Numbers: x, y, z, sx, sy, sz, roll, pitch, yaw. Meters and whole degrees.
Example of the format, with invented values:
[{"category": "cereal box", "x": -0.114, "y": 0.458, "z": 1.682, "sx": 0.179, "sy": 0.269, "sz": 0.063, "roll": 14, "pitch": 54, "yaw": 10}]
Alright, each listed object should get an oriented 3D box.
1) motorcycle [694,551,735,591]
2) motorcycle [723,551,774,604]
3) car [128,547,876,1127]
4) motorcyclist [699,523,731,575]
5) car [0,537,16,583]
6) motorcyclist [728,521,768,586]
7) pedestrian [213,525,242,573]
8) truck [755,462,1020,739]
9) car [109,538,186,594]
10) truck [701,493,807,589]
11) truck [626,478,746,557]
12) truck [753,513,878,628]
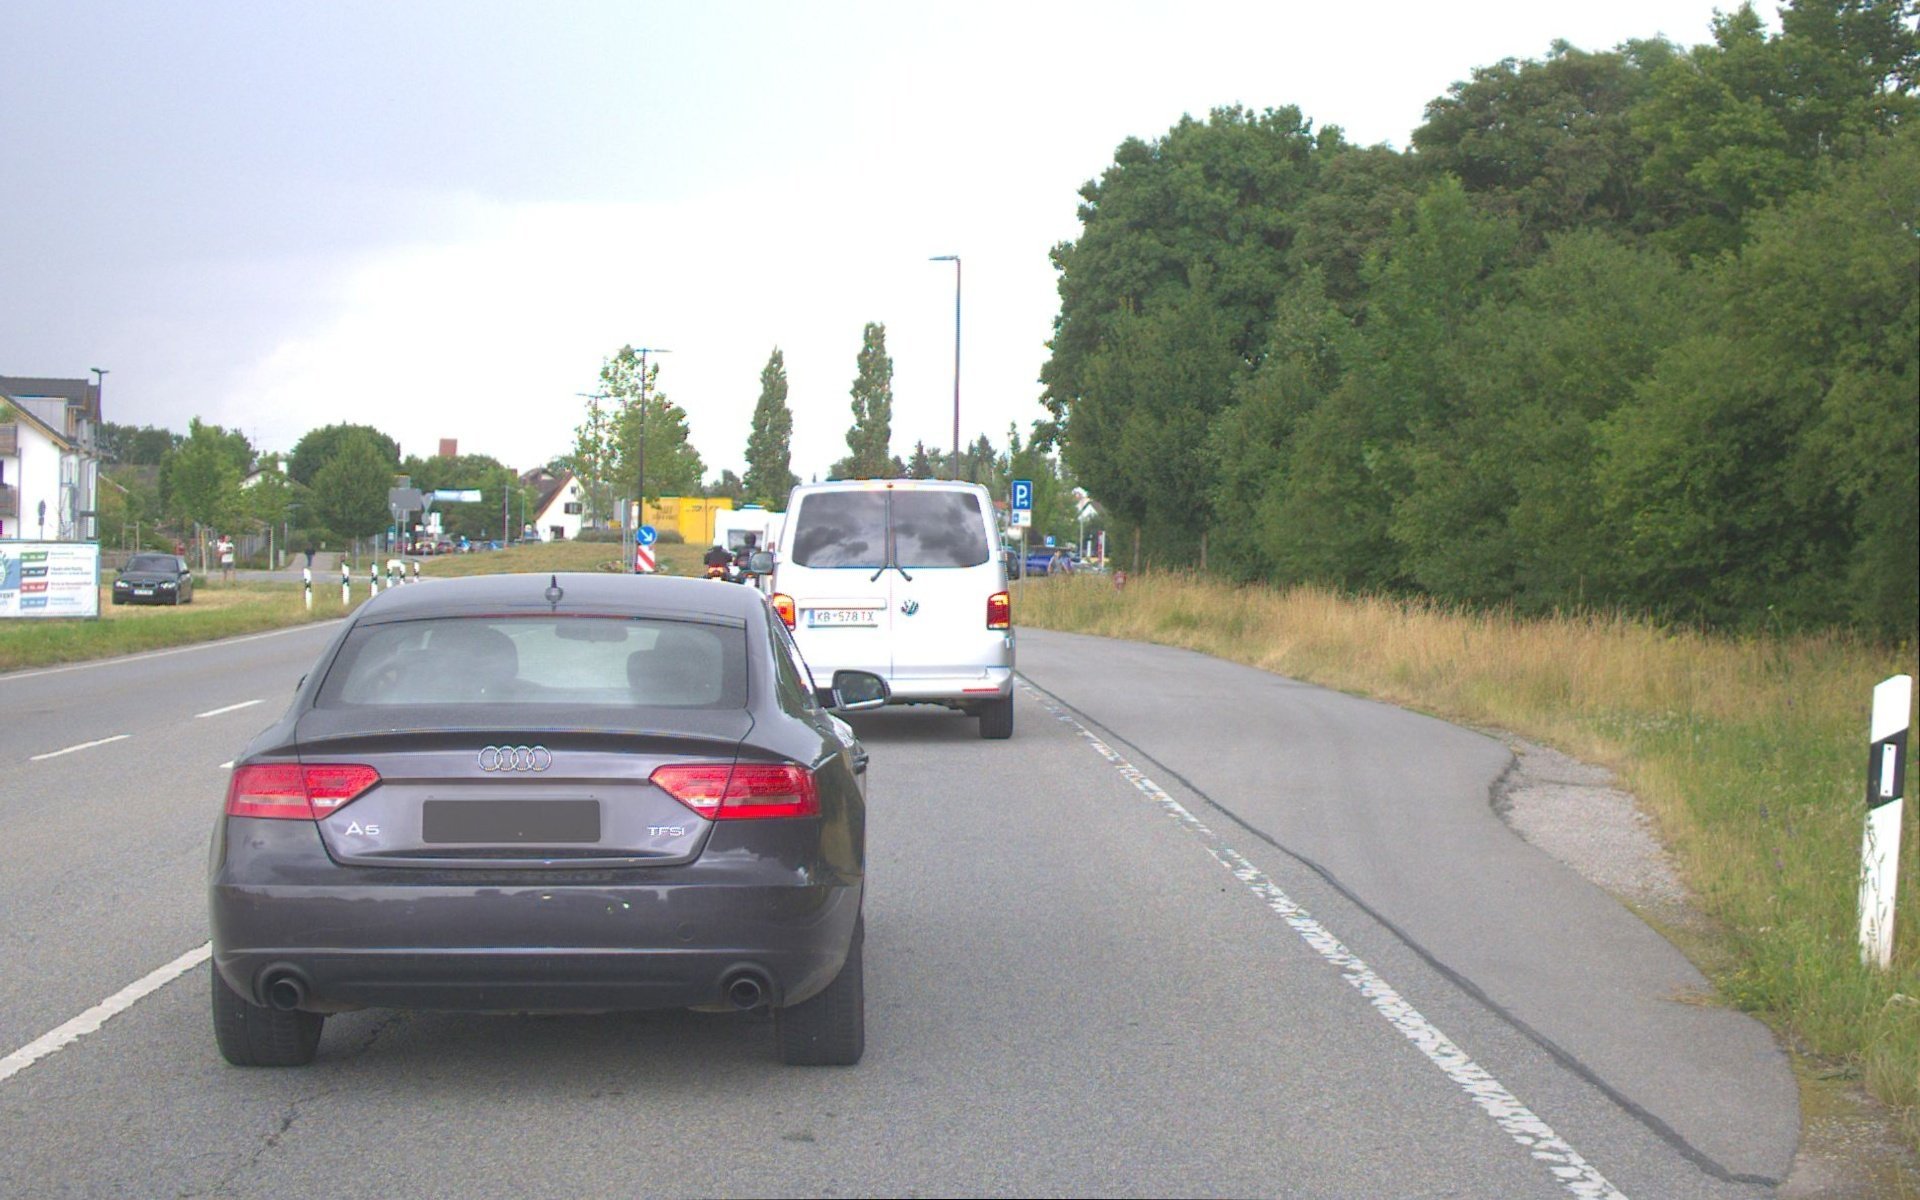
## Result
[{"category": "motorcycle", "x": -6.522, "y": -0.775, "z": 91.323, "sx": 0.944, "sy": 1.016, "sz": 2.284, "roll": 1, "pitch": 1, "yaw": -7}, {"category": "motorcycle", "x": -4.568, "y": -0.496, "z": 74.384, "sx": 0.920, "sy": 1.090, "sz": 2.189, "roll": 1, "pitch": 1, "yaw": 1}, {"category": "car", "x": -1.228, "y": 0.568, "z": 10.764, "sx": 1.875, "sy": 1.449, "sz": 4.177, "roll": 0, "pitch": 1, "yaw": -2}, {"category": "motorcyclist", "x": -6.501, "y": -1.351, "z": 91.249, "sx": 0.785, "sy": 1.352, "sz": 0.854, "roll": 1, "pitch": 1, "yaw": -7}, {"category": "car", "x": -31.377, "y": -1.254, "z": 106.828, "sx": 1.995, "sy": 1.441, "sz": 4.208, "roll": 1, "pitch": 1, "yaw": 17}, {"category": "motorcyclist", "x": -4.582, "y": -1.004, "z": 74.236, "sx": 0.772, "sy": 1.379, "sz": 0.820, "roll": 1, "pitch": 1, "yaw": 1}, {"category": "pedestrian", "x": -24.388, "y": -1.685, "z": 114.494, "sx": 0.701, "sy": 1.580, "sz": 0.657, "roll": 1, "pitch": 1, "yaw": 15}, {"category": "truck", "x": -0.584, "y": -0.043, "z": 27.368, "sx": 1.904, "sy": 1.991, "sz": 4.629, "roll": 1, "pitch": 1, "yaw": -1}, {"category": "car", "x": -22.329, "y": -0.950, "z": 94.573, "sx": 1.993, "sy": 1.437, "sz": 4.001, "roll": 1, "pitch": 2, "yaw": -12}, {"category": "truck", "x": -6.187, "y": -1.764, "z": 102.566, "sx": 2.625, "sy": 2.728, "sz": 5.869, "roll": 1, "pitch": 1, "yaw": -8}, {"category": "truck", "x": -13.168, "y": -3.974, "z": 164.199, "sx": 3.575, "sy": 3.566, "sz": 9.960, "roll": 1, "pitch": 1, "yaw": -17}, {"category": "truck", "x": -2.625, "y": -0.563, "z": 63.549, "sx": 2.193, "sy": 2.007, "sz": 5.085, "roll": 1, "pitch": 1, "yaw": -1}]
